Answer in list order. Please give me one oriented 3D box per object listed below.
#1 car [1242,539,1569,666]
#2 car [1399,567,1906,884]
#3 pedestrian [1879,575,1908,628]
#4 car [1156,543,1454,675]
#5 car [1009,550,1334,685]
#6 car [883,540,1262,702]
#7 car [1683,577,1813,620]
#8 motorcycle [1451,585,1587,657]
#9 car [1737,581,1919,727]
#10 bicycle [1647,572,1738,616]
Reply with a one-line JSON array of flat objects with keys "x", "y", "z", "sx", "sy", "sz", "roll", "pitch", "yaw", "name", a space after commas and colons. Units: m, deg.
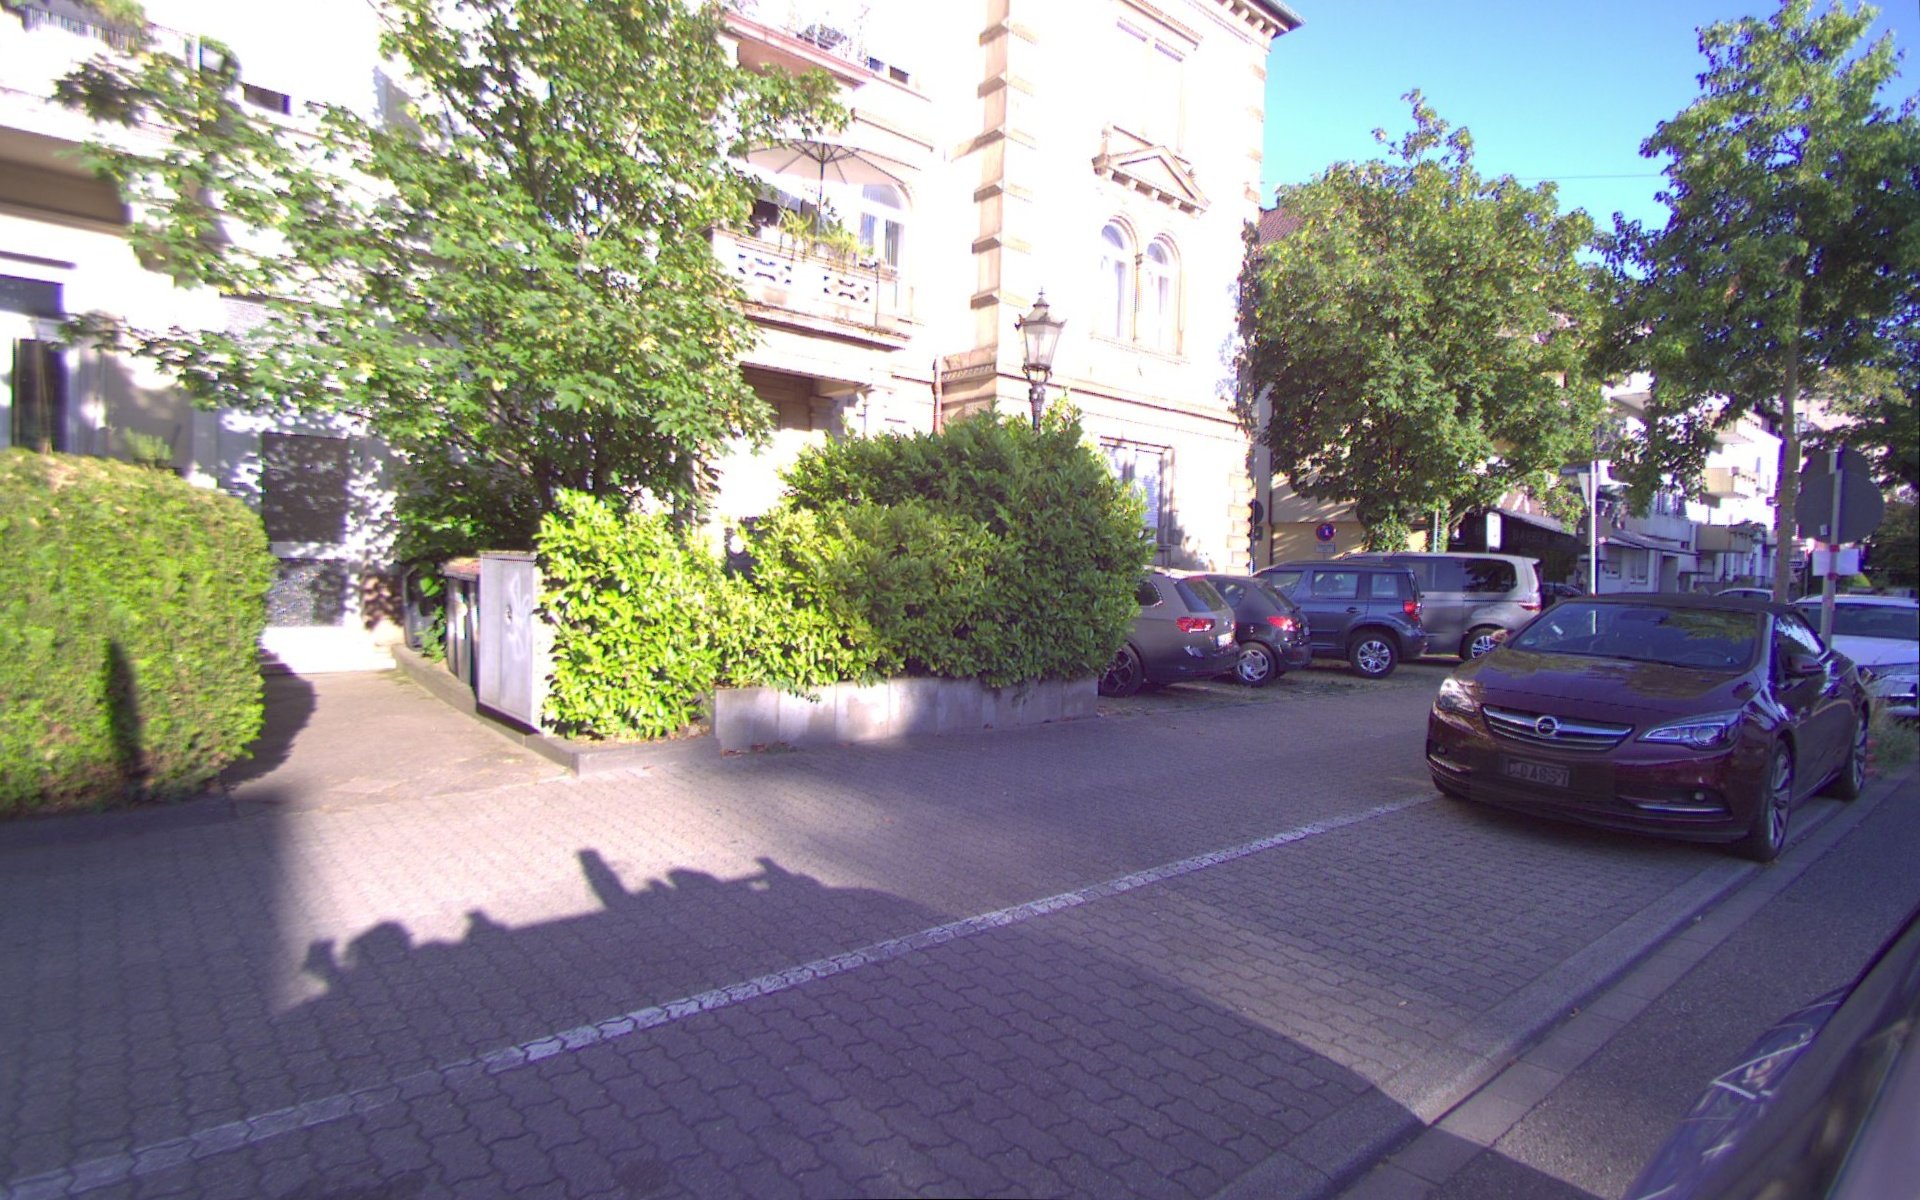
[{"x": 7.513, "y": -0.030, "z": 17.543, "sx": 4.881, "sy": 1.923, "sz": 1.907, "roll": 2, "pitch": 2, "yaw": 22, "name": "car"}, {"x": 4.997, "y": 0.575, "z": 7.012, "sx": 4.534, "sy": 1.437, "sz": 1.761, "roll": 0, "pitch": 4, "yaw": -41, "name": "car"}, {"x": 32.111, "y": 0.041, "z": 34.799, "sx": 0.552, "sy": 1.794, "sz": 0.619, "roll": 2, "pitch": 1, "yaw": -40, "name": "pedestrian"}, {"x": 5.212, "y": 0.062, "z": 15.591, "sx": 4.050, "sy": 1.720, "sz": 1.776, "roll": 3, "pitch": 2, "yaw": 20, "name": "car"}, {"x": 2.899, "y": 0.152, "z": 14.009, "sx": 4.061, "sy": 1.458, "sz": 1.701, "roll": 4, "pitch": 3, "yaw": 27, "name": "car"}, {"x": 1.306, "y": 0.142, "z": 12.395, "sx": 4.220, "sy": 1.529, "sz": 1.772, "roll": 5, "pitch": 3, "yaw": 32, "name": "car"}, {"x": 30.941, "y": -0.105, "z": 39.807, "sx": 1.550, "sy": 1.523, "sz": 3.869, "roll": 0, "pitch": 2, "yaw": -45, "name": "car"}, {"x": 10.659, "y": 0.363, "z": 19.354, "sx": 2.153, "sy": 1.255, "sz": 0.778, "roll": 3, "pitch": 2, "yaw": 40, "name": "motorcycle"}, {"x": 11.371, "y": 0.551, "z": 12.546, "sx": 4.540, "sy": 1.496, "sz": 1.825, "roll": 0, "pitch": 2, "yaw": -40, "name": "car"}, {"x": 26.143, "y": -0.239, "z": 36.146, "sx": 0.912, "sy": 1.459, "sz": 2.457, "roll": 0, "pitch": 2, "yaw": -42, "name": "bicycle"}]
